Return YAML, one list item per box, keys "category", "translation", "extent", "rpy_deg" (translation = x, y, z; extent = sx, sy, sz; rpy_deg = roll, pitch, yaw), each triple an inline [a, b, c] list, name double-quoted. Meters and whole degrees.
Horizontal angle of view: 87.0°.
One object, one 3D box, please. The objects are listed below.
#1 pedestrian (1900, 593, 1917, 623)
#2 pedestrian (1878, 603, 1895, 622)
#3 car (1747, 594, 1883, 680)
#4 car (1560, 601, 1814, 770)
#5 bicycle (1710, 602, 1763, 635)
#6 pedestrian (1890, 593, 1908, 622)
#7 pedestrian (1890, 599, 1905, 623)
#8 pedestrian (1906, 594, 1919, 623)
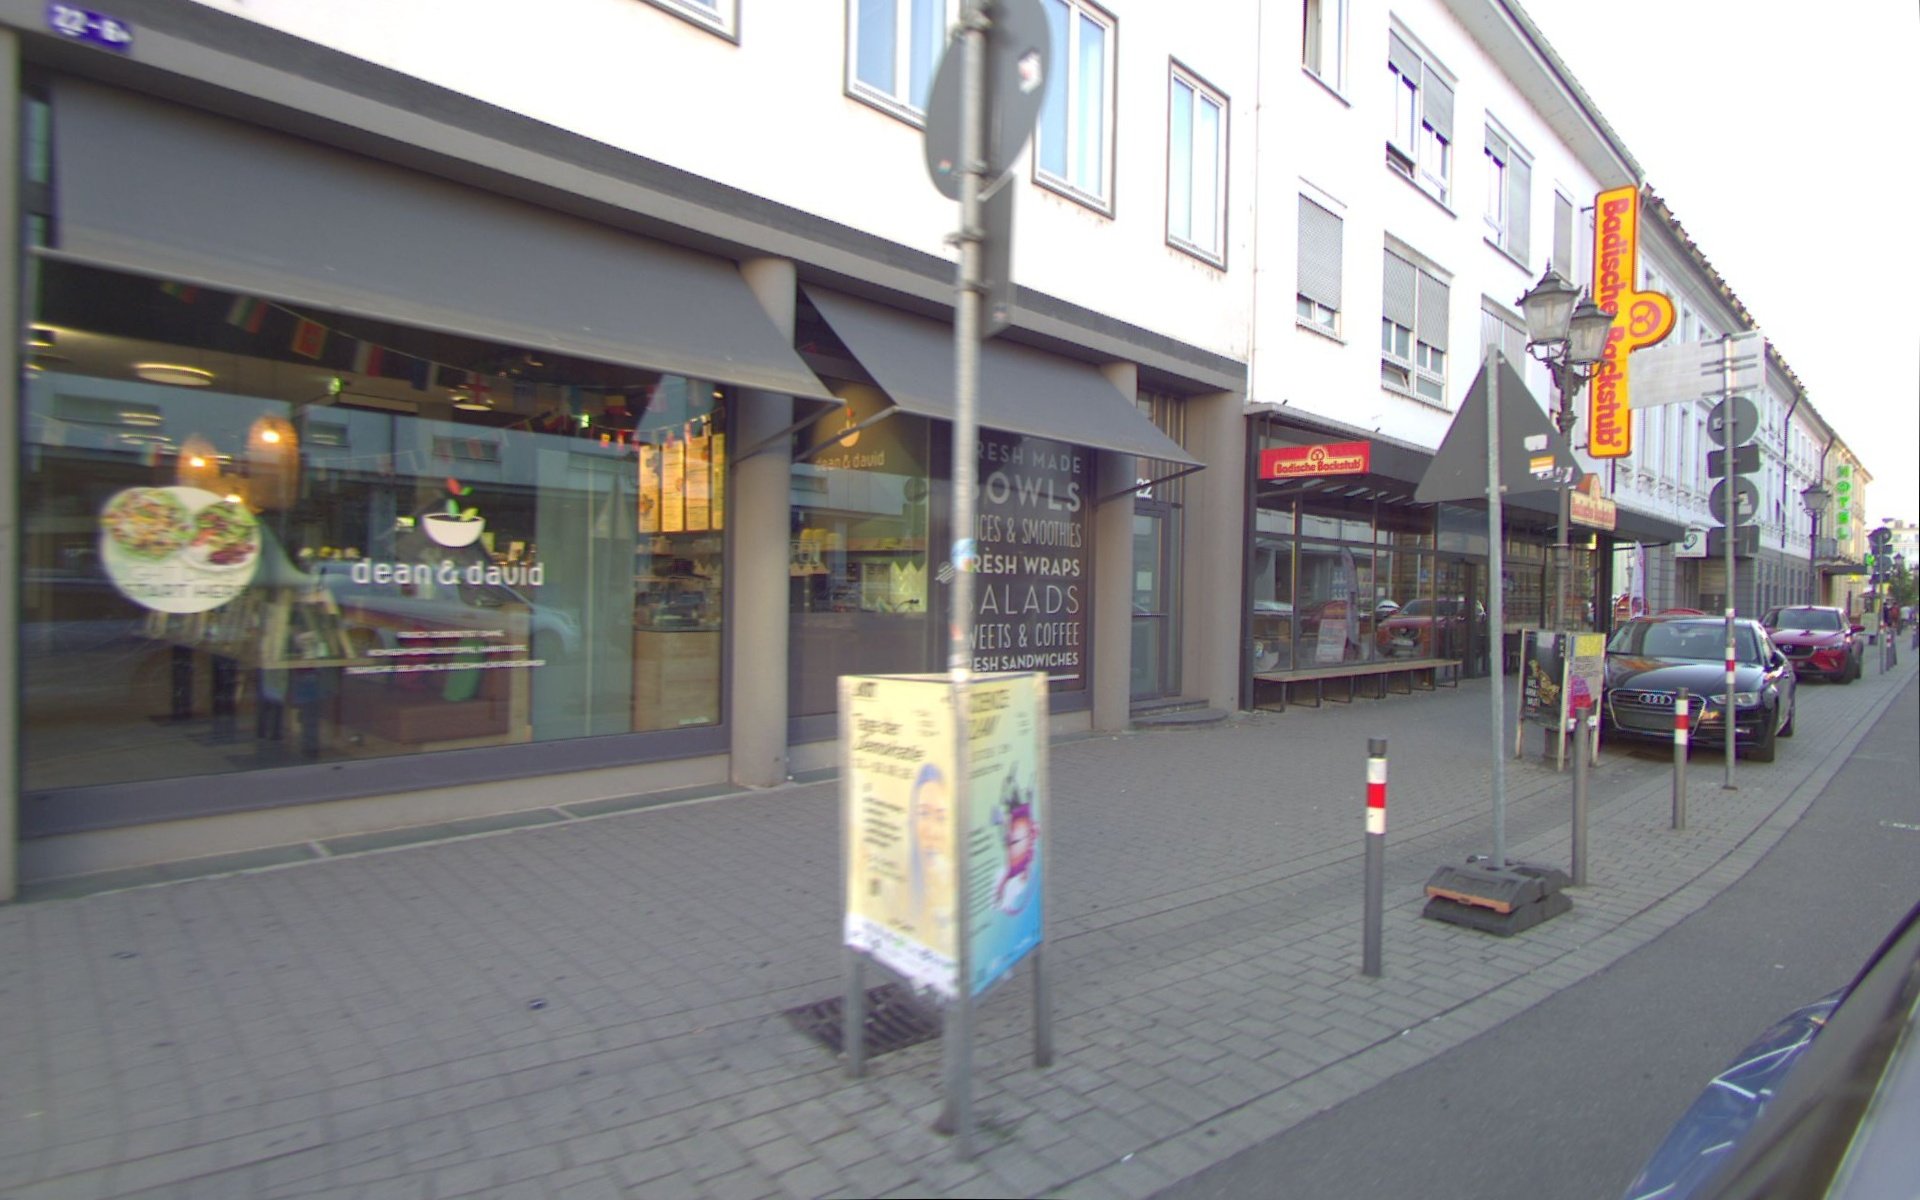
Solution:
- category: "pedestrian"
  translation: [57.484, 0.485, 61.336]
  extent: [0.897, 1.812, 0.621]
  rpy_deg: [1, 0, -40]
- category: "pedestrian"
  translation: [65.494, 0.881, 71.548]
  extent: [0.770, 1.376, 0.716]
  rpy_deg: [1, 0, 30]
- category: "car"
  translation: [18.043, 0.710, 21.305]
  extent: [3.616, 1.541, 1.762]
  rpy_deg: [0, 3, -44]
- category: "car"
  translation: [8.243, 0.780, 11.324]
  extent: [1.801, 1.482, 4.053]
  rpy_deg: [2, 1, 43]
- category: "bicycle"
  translation: [31.342, 0.722, 40.854]
  extent: [1.657, 1.268, 0.432]
  rpy_deg: [1, 0, 44]
- category: "pedestrian"
  translation: [57.949, 0.467, 62.471]
  extent: [0.858, 1.752, 0.714]
  rpy_deg: [1, 0, -42]
- category: "pedestrian"
  translation: [62.294, 0.729, 67.241]
  extent: [0.604, 1.621, 0.630]
  rpy_deg: [1, 0, -42]
- category: "pedestrian"
  translation: [58.643, 0.504, 62.072]
  extent: [0.865, 1.752, 0.750]
  rpy_deg: [1, 0, -38]
